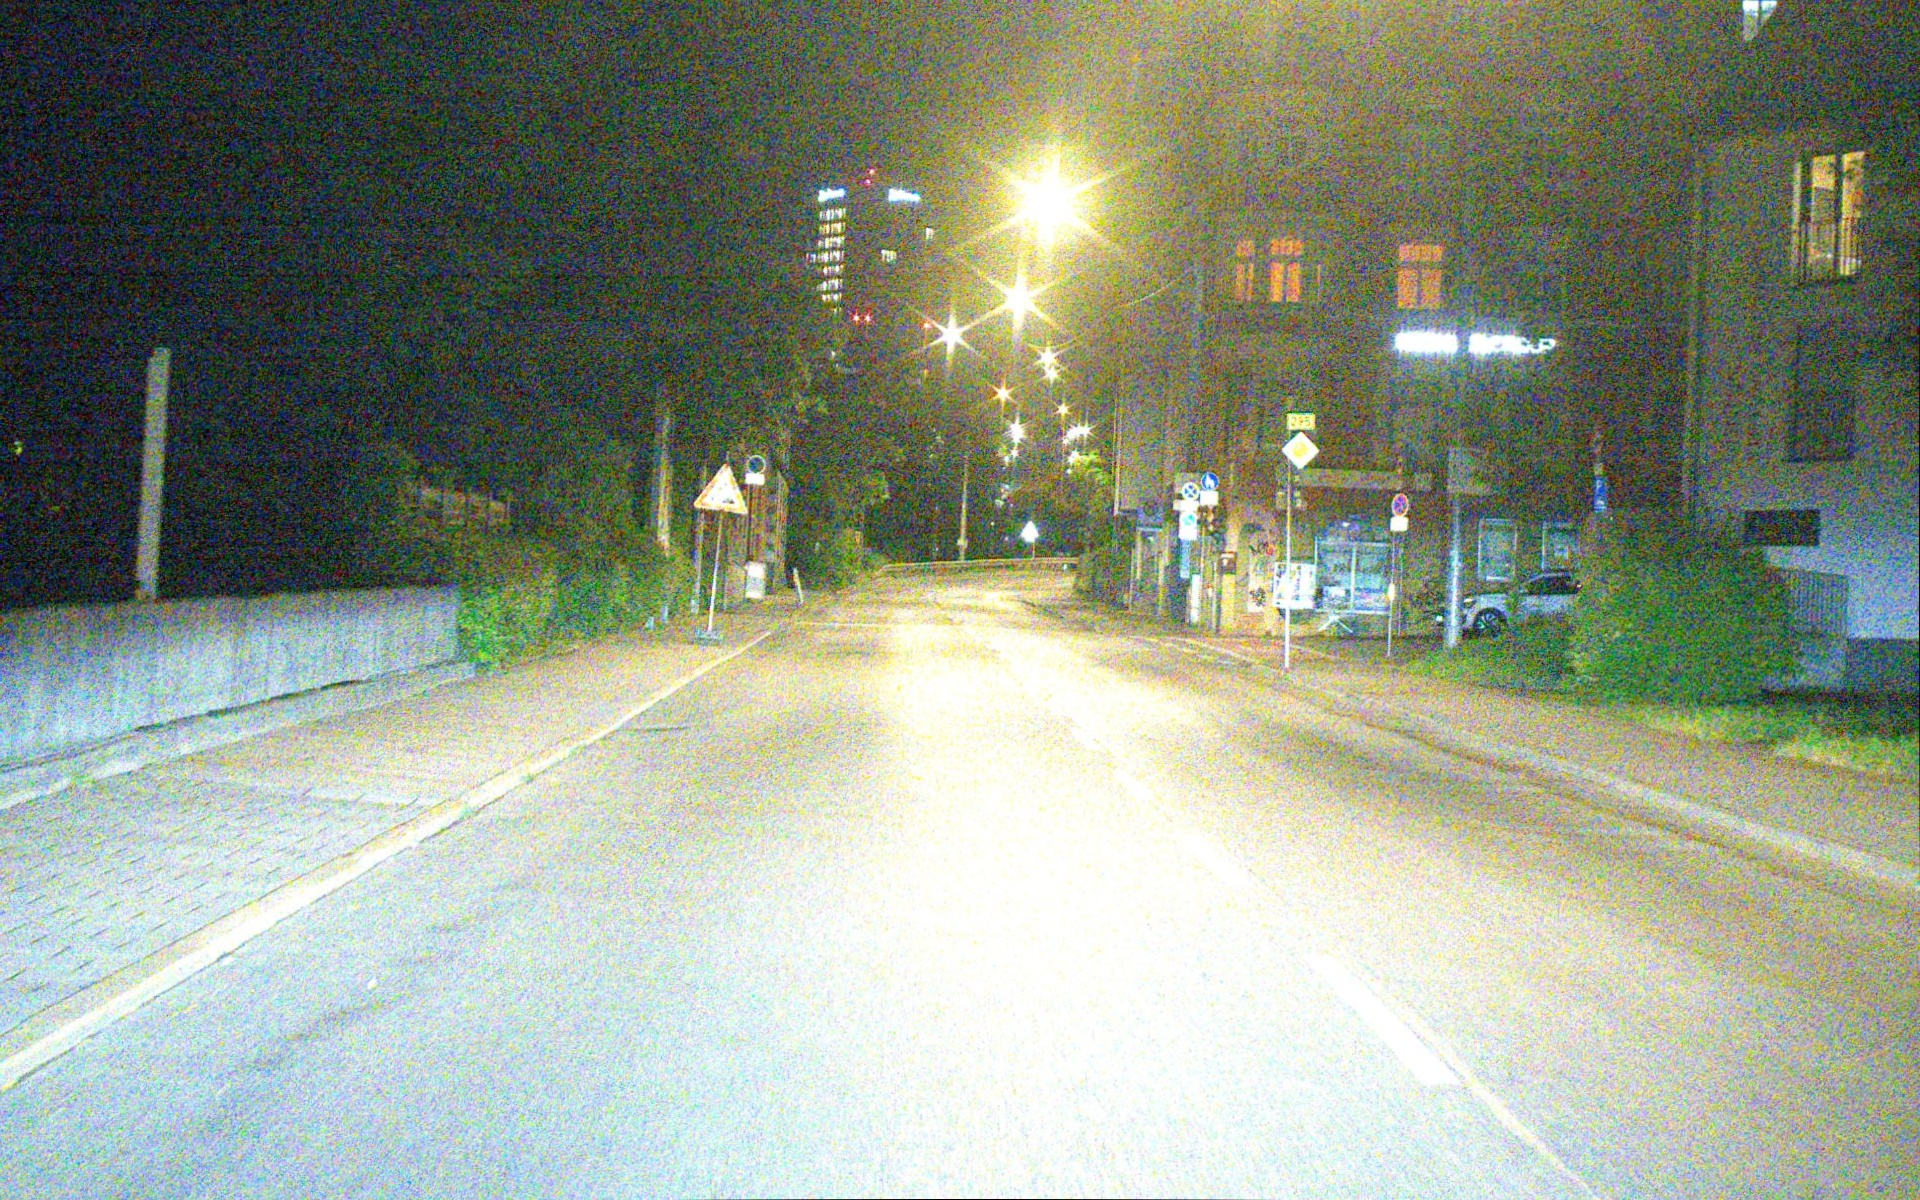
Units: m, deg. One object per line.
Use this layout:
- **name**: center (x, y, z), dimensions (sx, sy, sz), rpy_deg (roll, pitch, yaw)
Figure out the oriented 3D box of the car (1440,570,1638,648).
- **car**: center (12.463, 0.189, 74.149), dimensions (3.837, 1.539, 1.809), rpy_deg (2, 0, -3)
